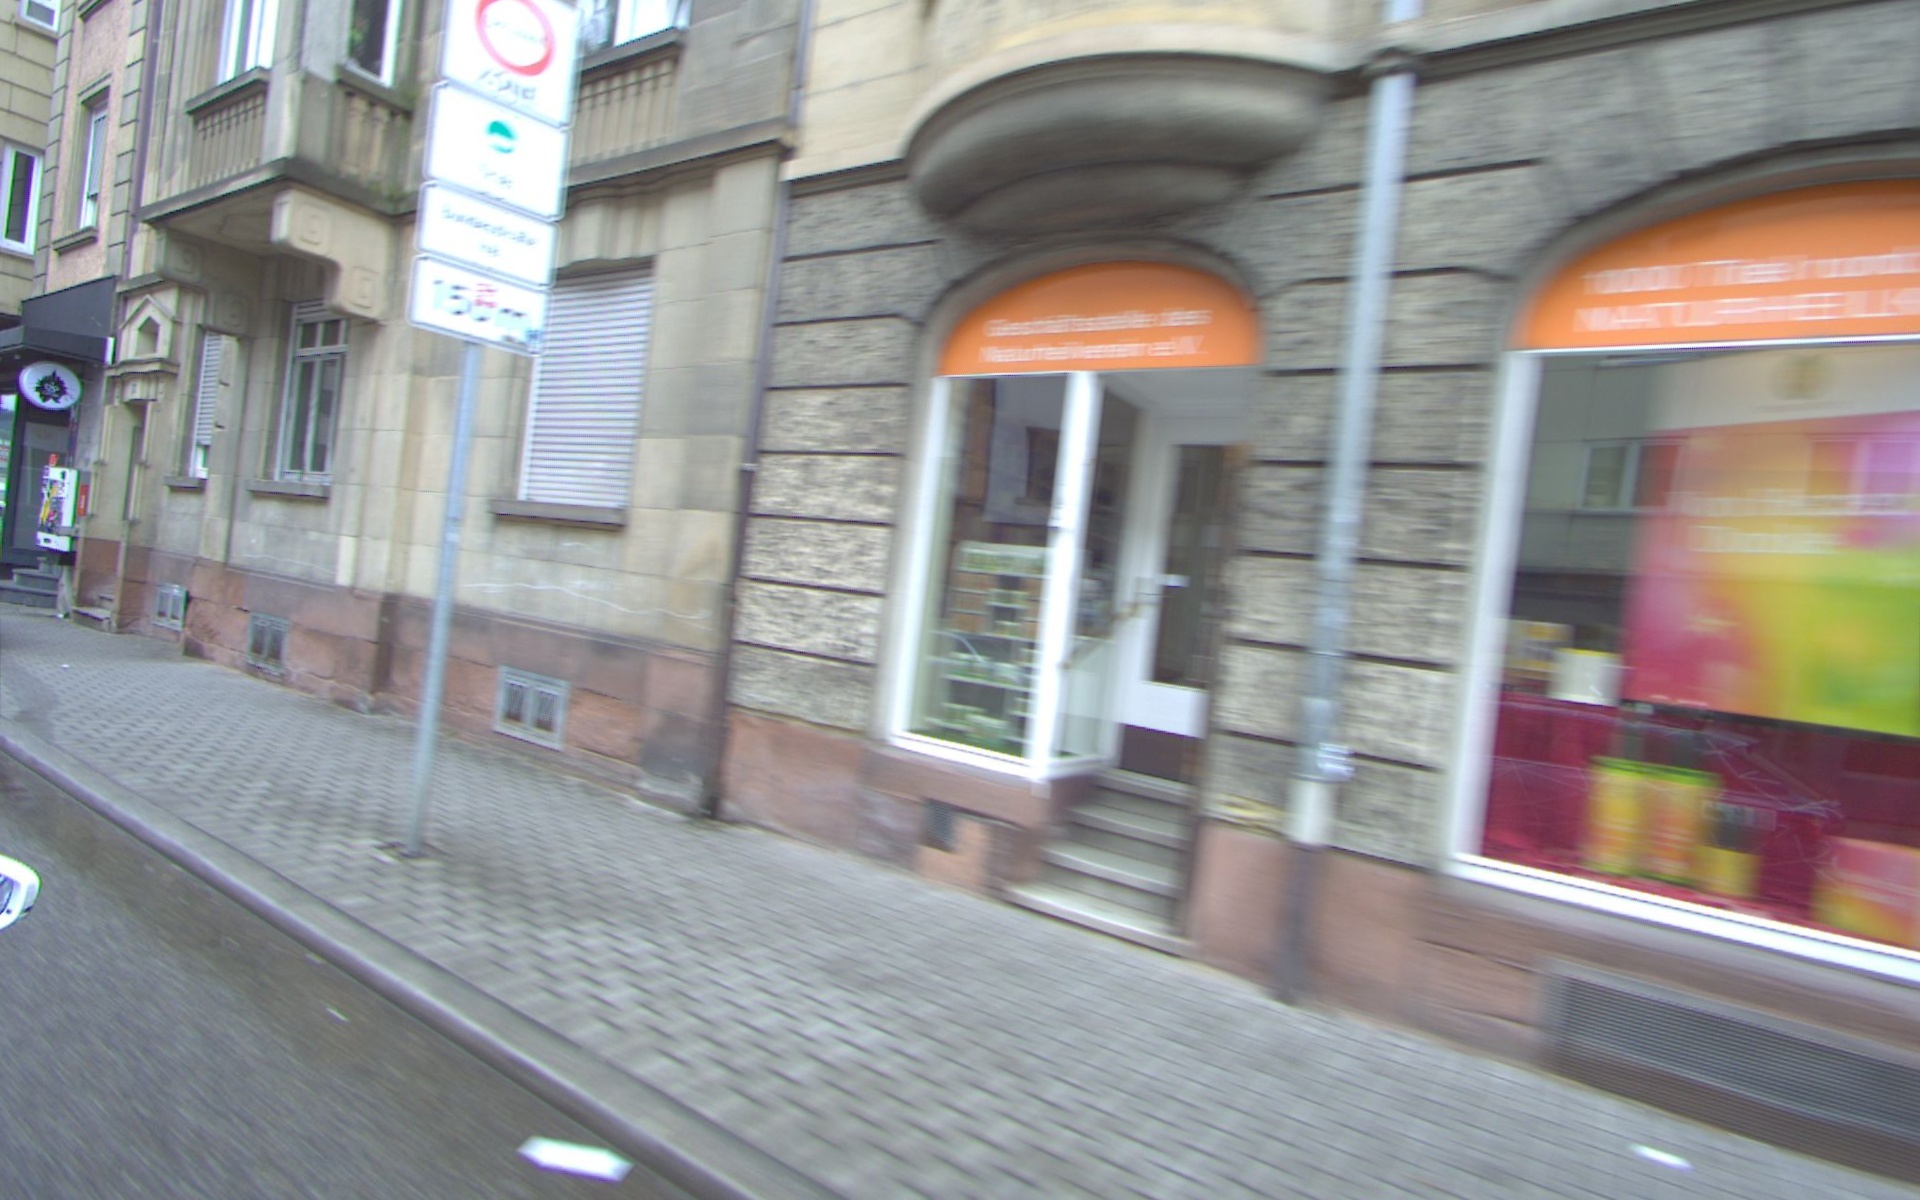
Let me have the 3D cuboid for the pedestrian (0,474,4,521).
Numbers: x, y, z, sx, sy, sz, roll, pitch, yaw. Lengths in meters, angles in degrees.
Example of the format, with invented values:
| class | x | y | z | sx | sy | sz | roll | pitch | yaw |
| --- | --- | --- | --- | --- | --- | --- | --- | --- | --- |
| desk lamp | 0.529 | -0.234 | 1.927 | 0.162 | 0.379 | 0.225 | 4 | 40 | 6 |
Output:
| class | x | y | z | sx | sy | sz | roll | pitch | yaw |
| --- | --- | --- | --- | --- | --- | --- | --- | --- | --- |
| pedestrian | -13.618 | -0.863 | 13.590 | 0.782 | 1.801 | 0.744 | 6 | 1 | 32 |

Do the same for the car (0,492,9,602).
| class | x | y | z | sx | sy | sz | roll | pitch | yaw |
| --- | --- | --- | --- | --- | --- | --- | --- | --- | --- |
| car | -11.122 | -0.470 | 9.956 | 4.379 | 1.513 | 1.647 | 6 | 0 | 36 |
